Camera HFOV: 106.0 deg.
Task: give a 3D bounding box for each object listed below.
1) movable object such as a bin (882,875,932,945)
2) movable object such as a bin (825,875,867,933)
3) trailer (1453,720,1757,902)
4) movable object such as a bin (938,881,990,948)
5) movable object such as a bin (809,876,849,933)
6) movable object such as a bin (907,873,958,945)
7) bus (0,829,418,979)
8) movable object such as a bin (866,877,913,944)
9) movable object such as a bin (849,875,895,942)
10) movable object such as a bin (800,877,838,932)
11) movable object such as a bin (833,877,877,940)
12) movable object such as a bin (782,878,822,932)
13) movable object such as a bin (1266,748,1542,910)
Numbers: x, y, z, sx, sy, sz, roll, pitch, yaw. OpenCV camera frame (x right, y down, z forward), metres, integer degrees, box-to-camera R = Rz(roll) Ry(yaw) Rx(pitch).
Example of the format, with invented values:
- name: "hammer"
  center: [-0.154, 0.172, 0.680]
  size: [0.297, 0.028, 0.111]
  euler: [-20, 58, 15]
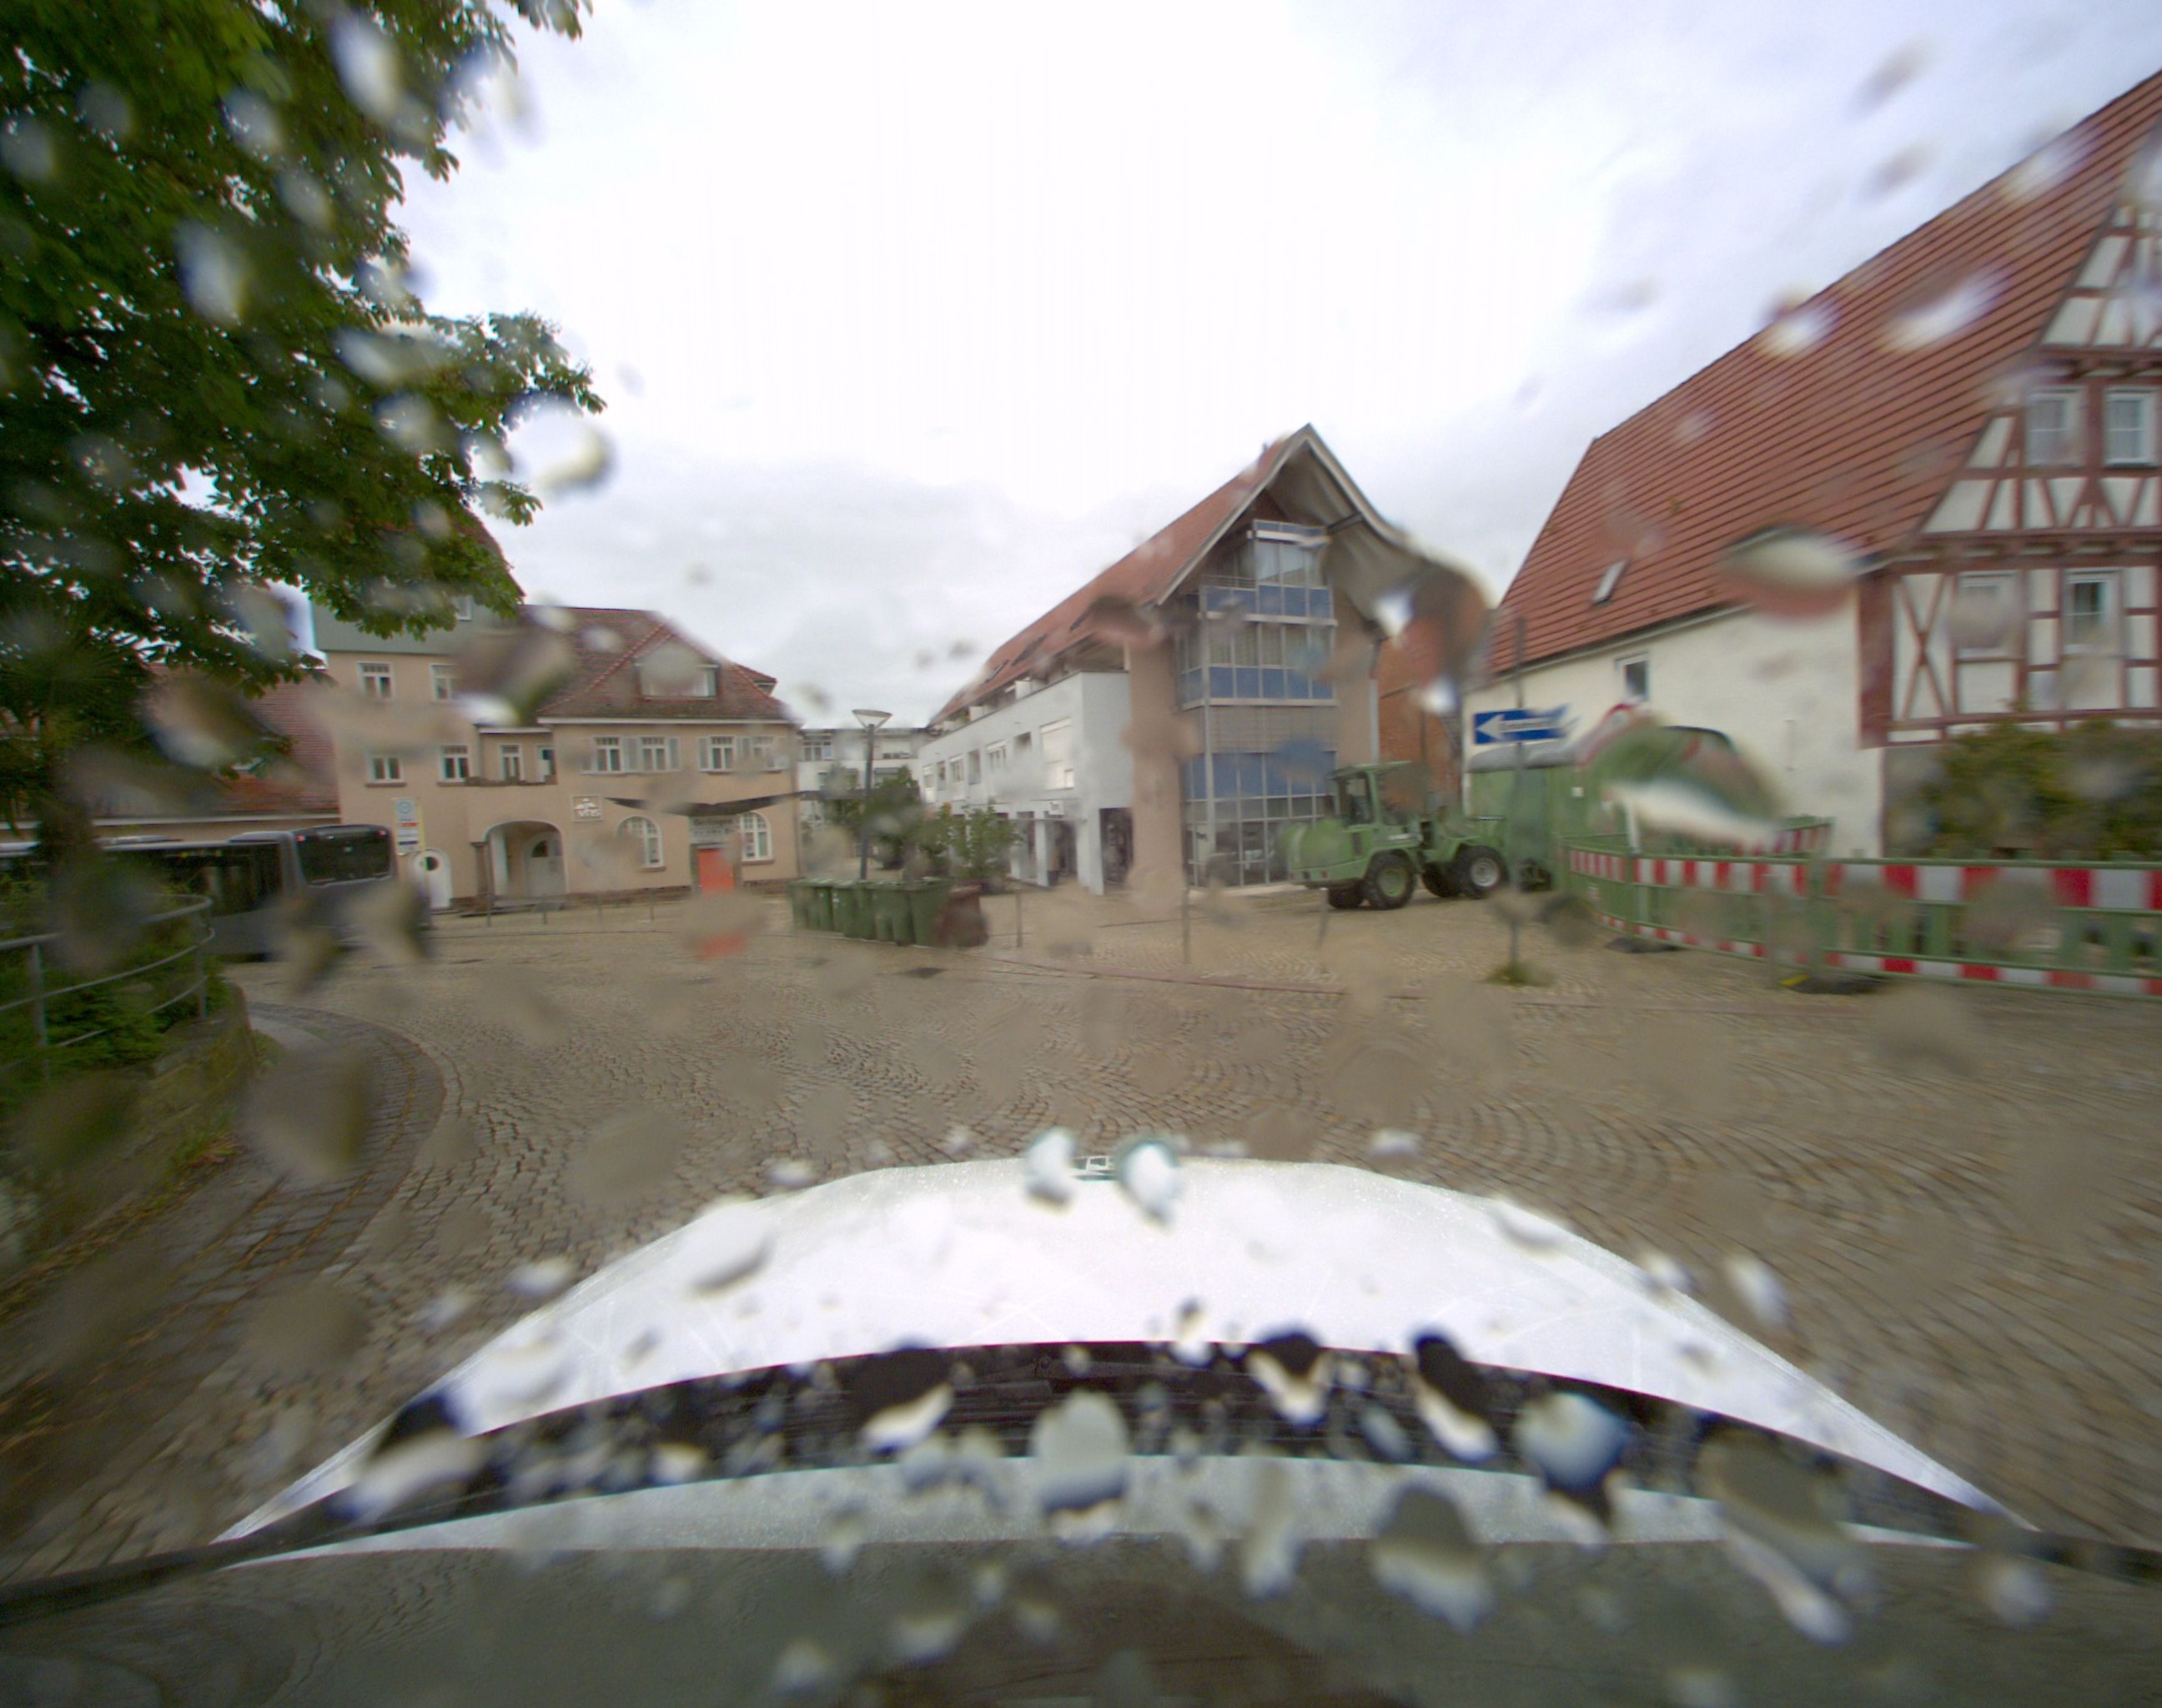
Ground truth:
- name: "movable object such as a bin"
  center: [-2.983, 0.952, 13.956]
  size: [0.564, 1.126, 0.544]
  euler: [-5, 1, -40]
- name: "movable object such as a bin"
  center: [-4.805, 1.014, 16.651]
  size: [0.564, 1.126, 0.544]
  euler: [-5, 1, -40]
- name: "trailer"
  center: [9.395, -0.825, 15.248]
  size: [2.480, 2.835, 4.626]
  euler: [-2, 3, -5]
- name: "movable object such as a bin"
  center: [-1.875, 0.959, 13.048]
  size: [0.492, 0.991, 0.565]
  euler: [-3, 1, 41]
- name: "movable object such as a bin"
  center: [-5.267, 1.051, 17.044]
  size: [0.564, 1.126, 0.544]
  euler: [-5, 1, -40]
- name: "movable object such as a bin"
  center: [-2.483, 0.905, 13.601]
  size: [0.564, 1.126, 0.544]
  euler: [-5, 1, -40]
- name: "bus"
  center: [-22.581, 1.213, 20.198]
  size: [10.466, 2.989, 2.795]
  euler: [-3, 3, 7]
- name: "movable object such as a bin"
  center: [-3.408, 0.994, 14.516]
  size: [0.564, 1.126, 0.535]
  euler: [-5, 1, -40]
- name: "movable object such as a bin"
  center: [-3.861, 1.000, 15.013]
  size: [0.564, 1.159, 0.544]
  euler: [-5, 1, -40]
- name: "movable object such as a bin"
  center: [-5.634, 1.074, 17.499]
  size: [0.541, 1.126, 0.533]
  euler: [-5, 1, -40]
- name: "movable object such as a bin"
  center: [-4.320, 1.029, 15.543]
  size: [0.564, 1.126, 0.544]
  euler: [-5, 1, -40]
- name: "movable object such as a bin"
  center: [-6.128, 1.110, 17.894]
  size: [0.532, 1.126, 0.542]
  euler: [-3, 1, 40]
- name: "movable object such as a bin"
  center: [5.868, -0.468, 15.059]
  size: [4.276, 2.554, 1.906]
  euler: [-4, 1, -9]
